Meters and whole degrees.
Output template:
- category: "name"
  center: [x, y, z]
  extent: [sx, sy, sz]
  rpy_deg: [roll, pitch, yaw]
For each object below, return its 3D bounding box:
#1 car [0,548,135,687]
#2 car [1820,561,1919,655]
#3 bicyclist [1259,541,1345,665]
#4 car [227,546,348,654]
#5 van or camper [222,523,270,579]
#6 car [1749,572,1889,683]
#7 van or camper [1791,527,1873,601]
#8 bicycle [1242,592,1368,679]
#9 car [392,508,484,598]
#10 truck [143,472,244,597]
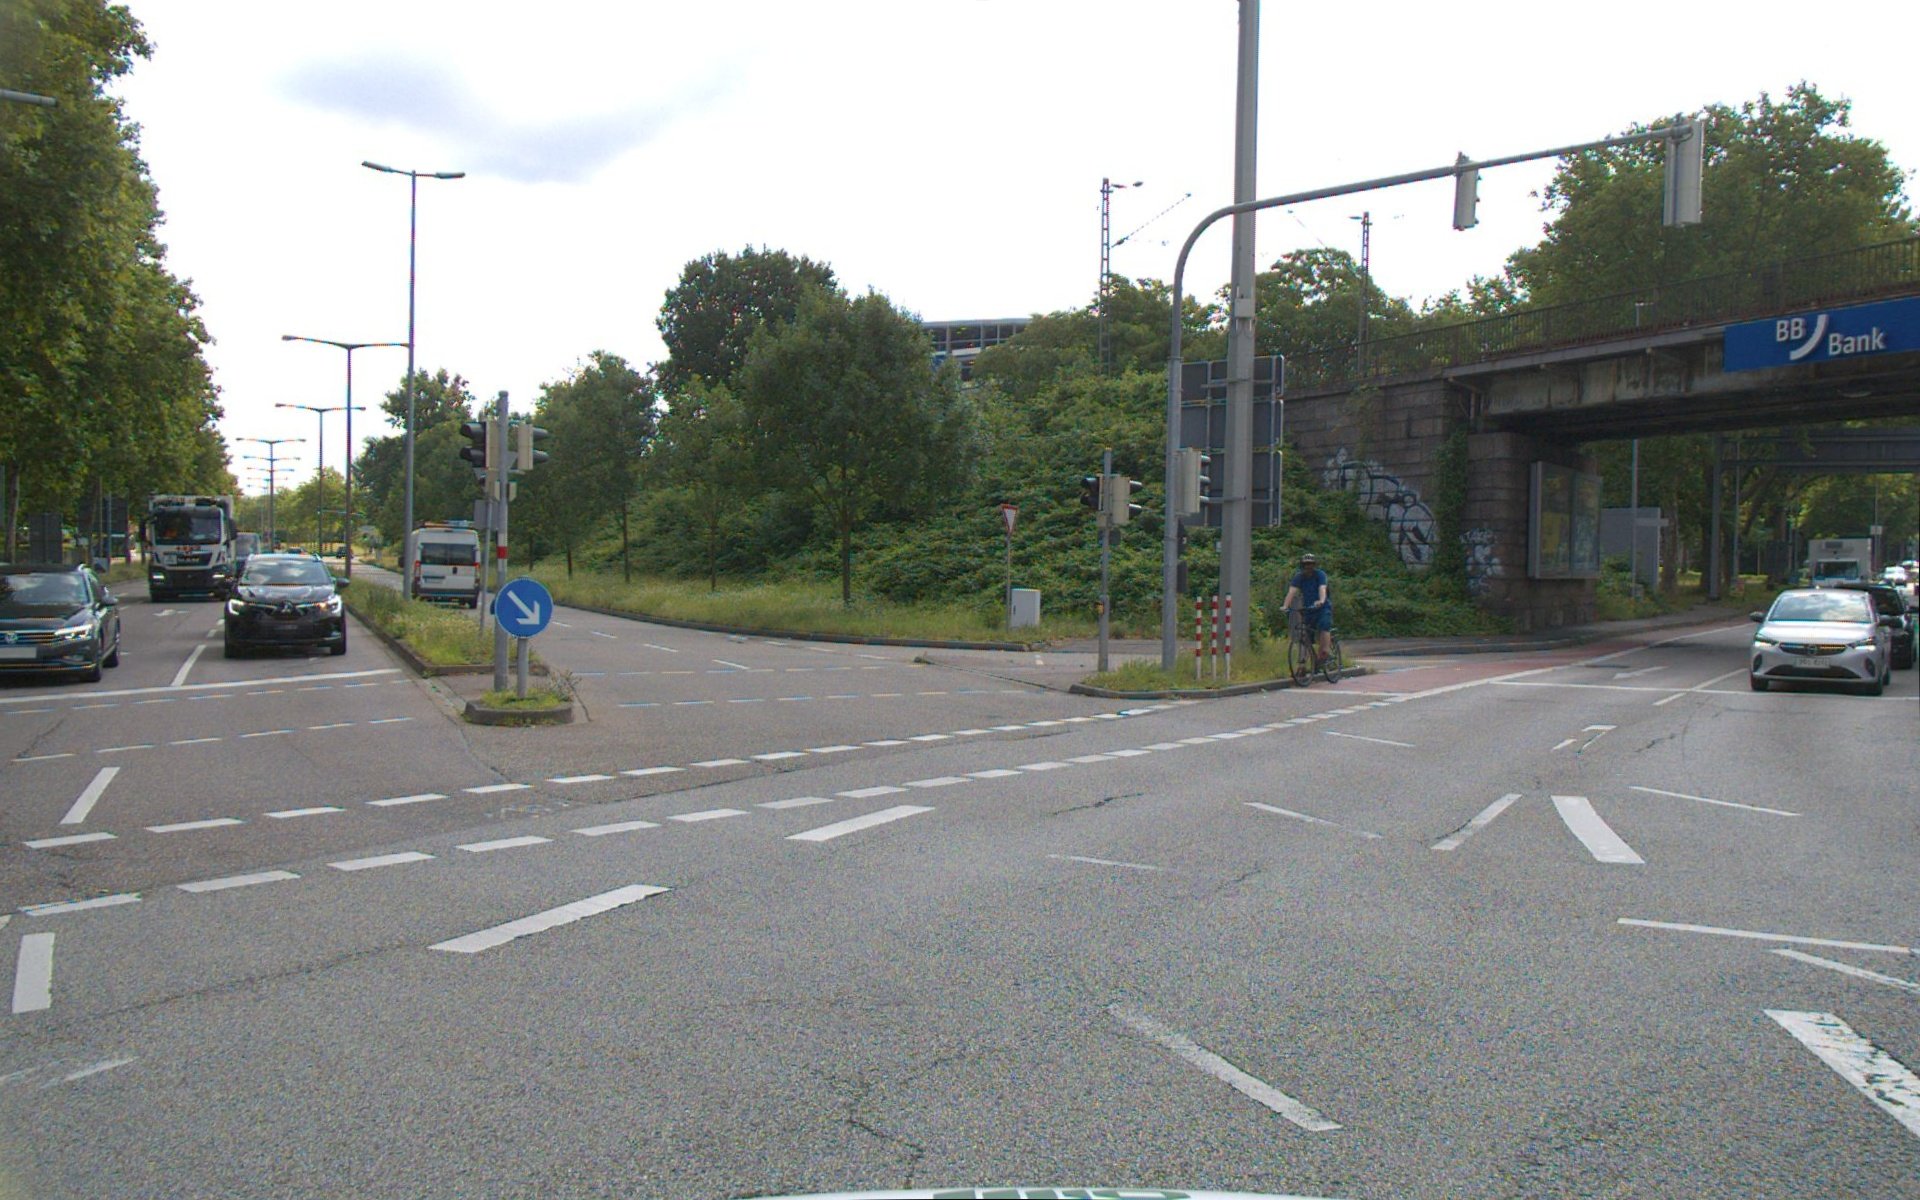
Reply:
- category: "car"
  center: [-12.238, 0.142, 21.975]
  extent: [1.838, 1.601, 4.540]
  rpy_deg: [0, 3, -21]
- category: "car"
  center: [17.285, 0.165, 31.223]
  extent: [1.731, 1.611, 4.658]
  rpy_deg: [-3, -2, 27]
- category: "bicyclist"
  center: [4.914, 0.057, 23.777]
  extent: [0.829, 1.708, 0.819]
  rpy_deg: [-6, -5, 39]
- category: "car"
  center: [-10.999, -0.069, 27.165]
  extent: [1.684, 1.615, 4.334]
  rpy_deg: [-1, 2, -22]
- category: "van or camper"
  center: [-38.256, -2.581, 88.510]
  extent: [2.078, 2.706, 6.664]
  rpy_deg: [-3, 1, -25]
- category: "car"
  center: [12.818, 0.370, 24.573]
  extent: [1.671, 1.502, 3.992]
  rpy_deg: [0, 0, 30]
- category: "van or camper"
  center: [38.966, -1.601, 73.822]
  extent: [2.610, 3.134, 5.731]
  rpy_deg: [-1, 0, 34]
- category: "bicycle"
  center: [4.989, 0.484, 23.830]
  extent: [0.829, 1.112, 2.307]
  rpy_deg: [2, 3, 38]
- category: "car"
  center: [-16.938, -1.566, 53.482]
  extent: [2.170, 2.773, 4.892]
  rpy_deg: [0, 3, -26]
- category: "truck"
  center: [-26.468, -2.229, 57.464]
  extent: [2.613, 3.955, 10.094]
  rpy_deg: [0, 2, -22]
